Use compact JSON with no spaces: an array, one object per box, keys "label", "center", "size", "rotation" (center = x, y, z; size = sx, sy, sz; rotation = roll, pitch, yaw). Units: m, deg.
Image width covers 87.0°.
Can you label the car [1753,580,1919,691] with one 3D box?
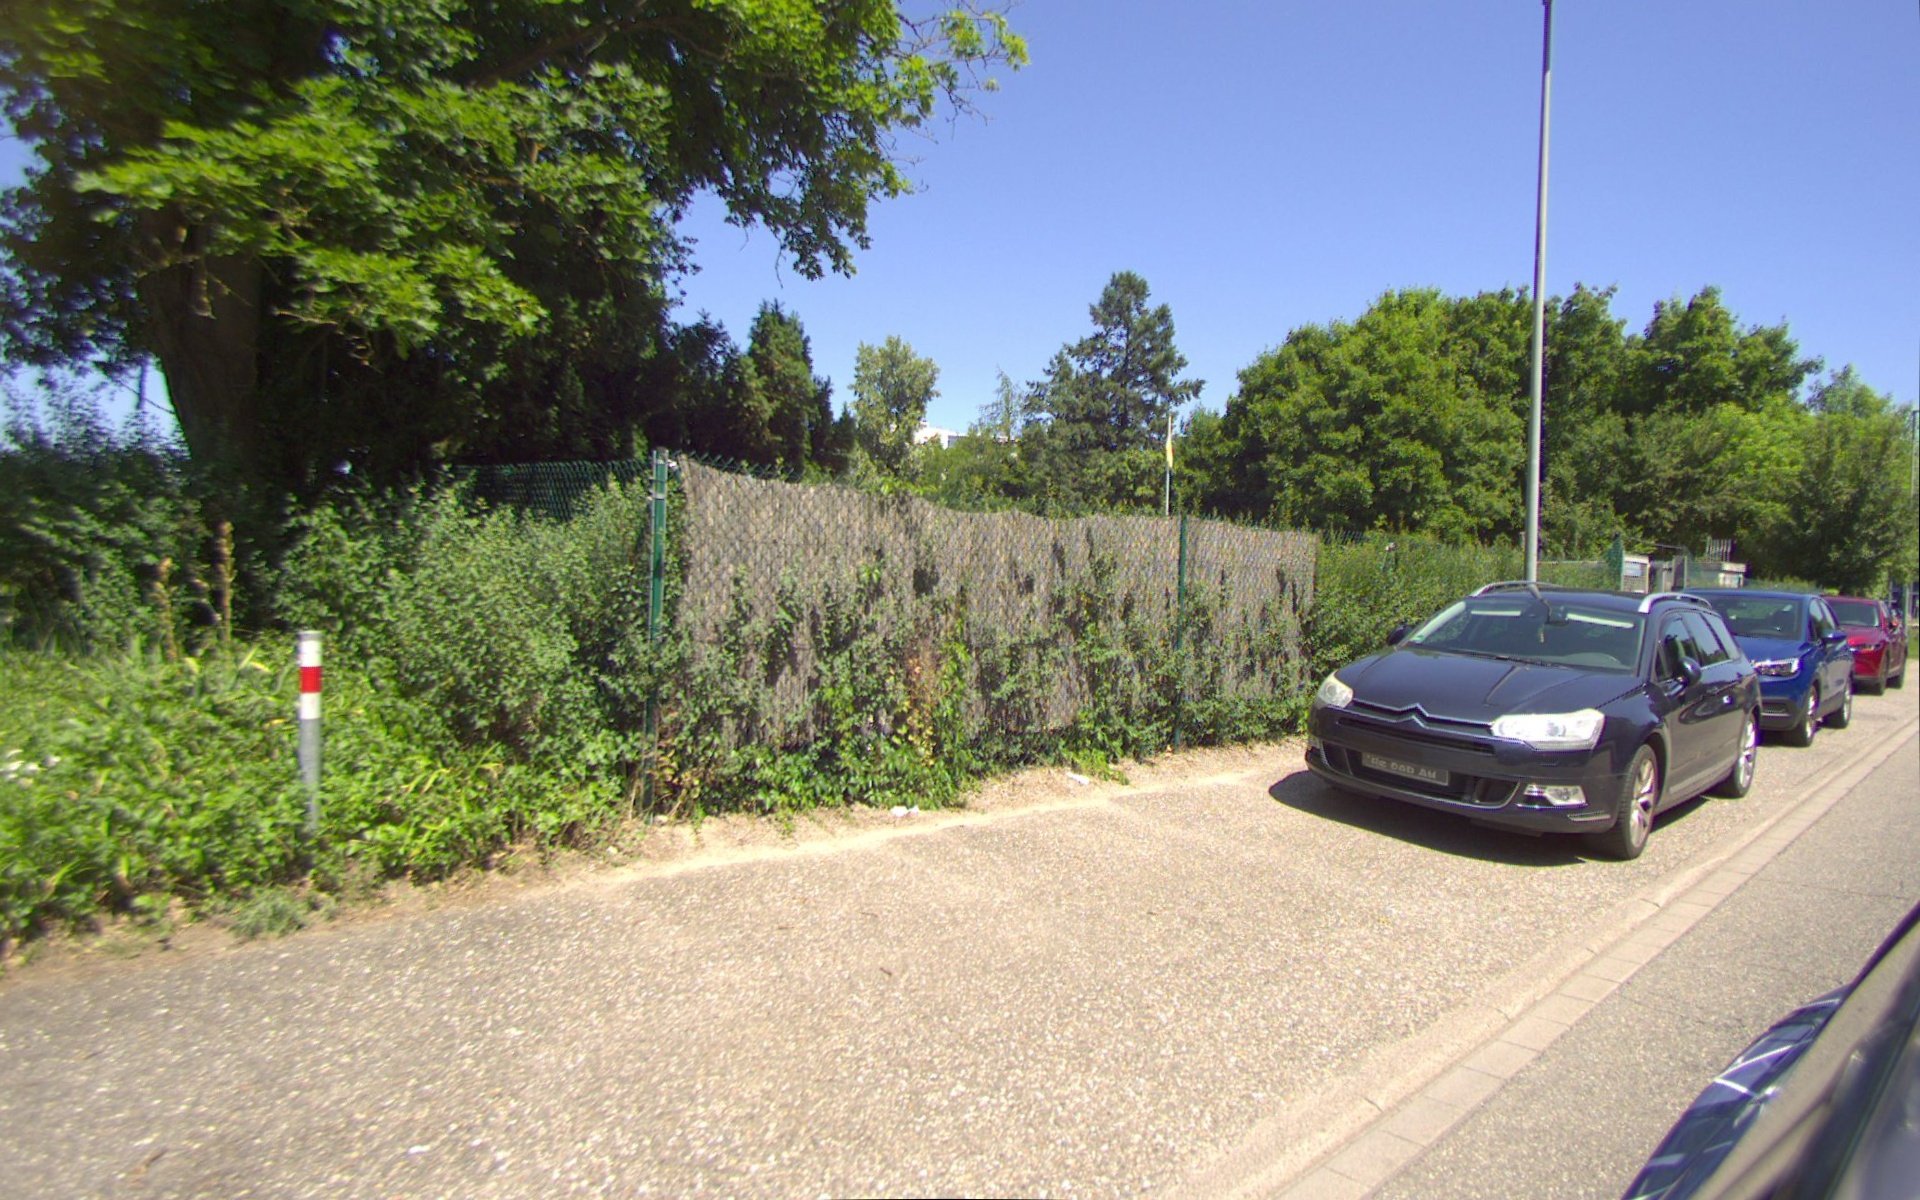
[{"label":"car","center":[16.158,0.573,18.460],"size":[4.375,1.678,1.793],"rotation":[1,4,-42]}]

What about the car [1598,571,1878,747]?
[{"label":"car","center":[8.963,0.566,11.534],"size":[4.058,1.624,1.792],"rotation":[1,1,-42]}]

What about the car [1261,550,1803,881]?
[{"label":"car","center":[4.176,0.537,7.004],"size":[4.583,1.499,1.793],"rotation":[1,4,-42]}]
